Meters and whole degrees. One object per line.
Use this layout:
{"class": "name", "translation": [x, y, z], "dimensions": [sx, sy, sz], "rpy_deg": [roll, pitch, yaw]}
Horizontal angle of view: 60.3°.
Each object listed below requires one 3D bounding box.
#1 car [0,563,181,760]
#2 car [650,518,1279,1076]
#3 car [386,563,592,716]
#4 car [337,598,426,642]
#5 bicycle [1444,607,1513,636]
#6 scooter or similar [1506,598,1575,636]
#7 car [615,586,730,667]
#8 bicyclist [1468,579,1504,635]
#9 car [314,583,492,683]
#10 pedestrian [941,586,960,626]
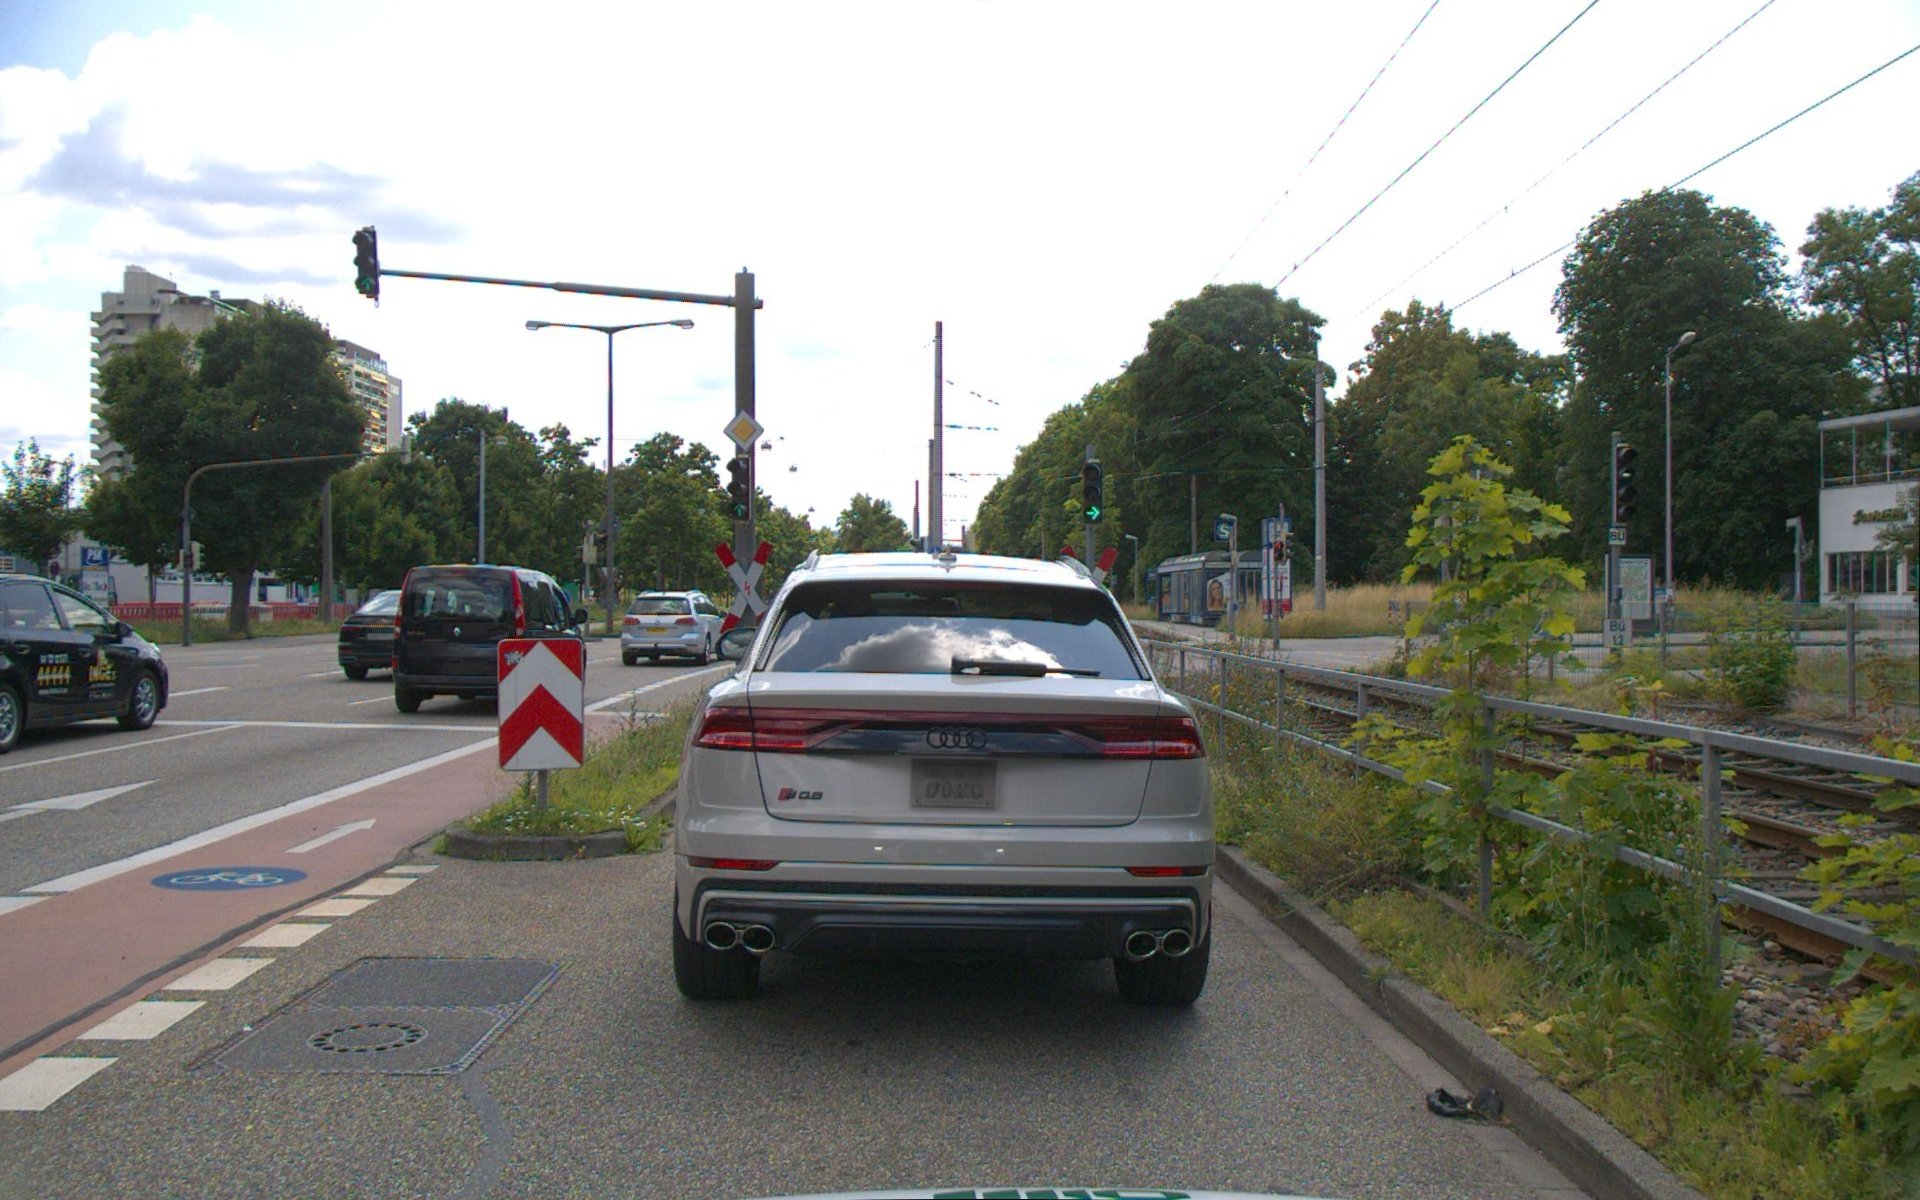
{"class": "car", "translation": [-9.179, 0.519, 15.603], "dimensions": [1.750, 1.697, 4.337], "rpy_deg": [1, 0, -3]}
{"class": "car", "translation": [-0.013, 0.628, 7.455], "dimensions": [1.941, 1.713, 4.573], "rpy_deg": [1, 0, -1]}
{"class": "car", "translation": [-6.071, 0.484, 21.767], "dimensions": [1.724, 1.808, 3.906], "rpy_deg": [1, 0, -3]}
{"class": "car", "translation": [-20.520, 0.681, 58.869], "dimensions": [1.764, 1.457, 4.494], "rpy_deg": [0, 0, -3]}
{"class": "bicycle", "translation": [14.027, 0.581, 44.767], "dimensions": [1.686, 0.778, 0.555], "rpy_deg": [1, 0, 1]}
{"class": "scooter or similar", "translation": [15.679, 0.465, 44.699], "dimensions": [1.542, 0.997, 0.962], "rpy_deg": [-1, 0, 1]}
{"class": "car", "translation": [-5.899, 0.526, 34.333], "dimensions": [1.750, 1.552, 4.299], "rpy_deg": [1, 0, -2]}
{"class": "bicyclist", "translation": [14.221, 0.179, 44.730], "dimensions": [0.821, 1.501, 0.455], "rpy_deg": [0, 0, 1]}
{"class": "car", "translation": [-9.280, 0.522, 27.872], "dimensions": [1.827, 1.531, 3.997], "rpy_deg": [1, 0, -4]}
{"class": "pedestrian", "translation": [-0.365, 0.226, 64.687], "dimensions": [0.642, 1.540, 0.716], "rpy_deg": [0, 0, -10]}
